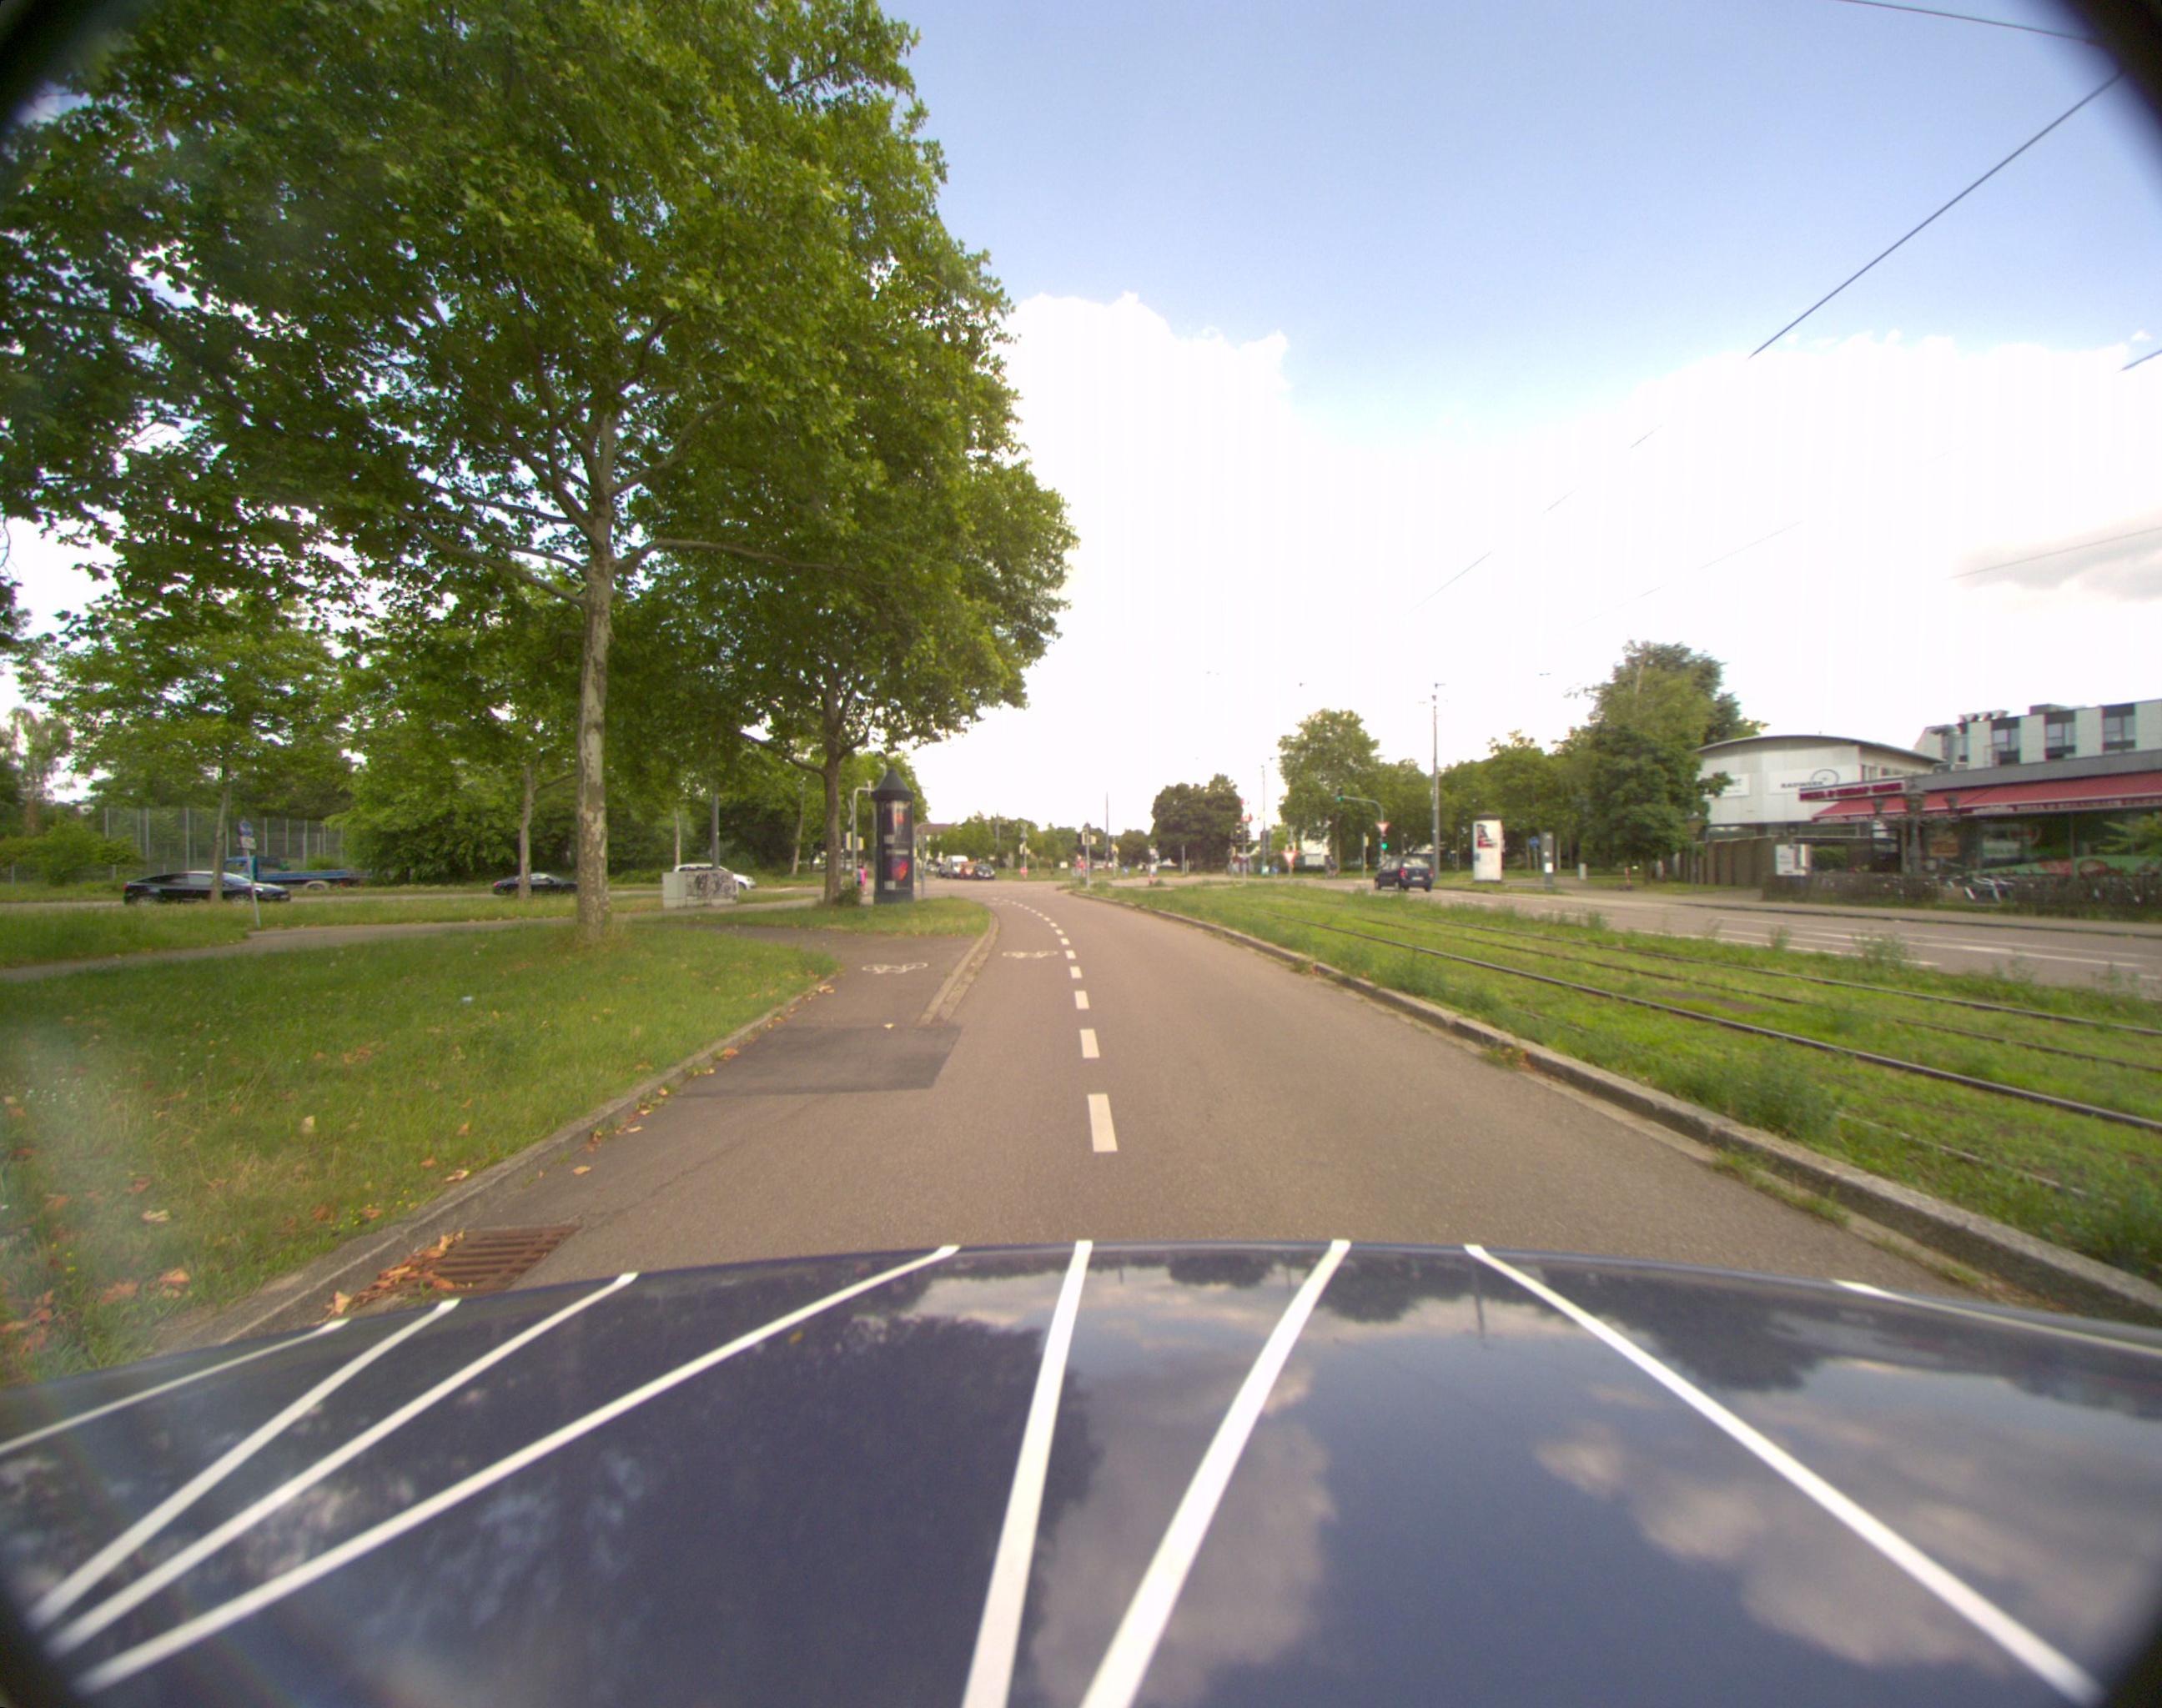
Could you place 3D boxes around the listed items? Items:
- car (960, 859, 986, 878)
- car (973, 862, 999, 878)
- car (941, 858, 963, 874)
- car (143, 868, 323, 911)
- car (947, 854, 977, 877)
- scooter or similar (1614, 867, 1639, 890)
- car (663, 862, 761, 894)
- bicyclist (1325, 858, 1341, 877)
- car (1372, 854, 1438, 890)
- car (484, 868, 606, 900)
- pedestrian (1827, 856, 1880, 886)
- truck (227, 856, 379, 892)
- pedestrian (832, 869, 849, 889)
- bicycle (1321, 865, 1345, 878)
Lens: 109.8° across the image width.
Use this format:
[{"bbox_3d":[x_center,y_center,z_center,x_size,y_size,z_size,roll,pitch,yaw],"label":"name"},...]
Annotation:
[{"bbox_3d":[-11.465,1.487,80.482,1.798,1.924,4.361,-1,0,-20],"label":"car"},{"bbox_3d":[-9.368,1.562,74.763,1.798,1.530,3.994,-1,0,-19],"label":"car"},{"bbox_3d":[-15.602,1.430,92.023,1.798,1.924,4.361,-1,0,-20],"label":"car"},{"bbox_3d":[-35.840,1.454,32.302,4.691,1.601,1.996,0,1,-21],"label":"car"},{"bbox_3d":[-13.617,1.247,86.653,2.242,2.492,5.716,-1,0,-21],"label":"car"},{"bbox_3d":[25.099,1.127,34.993,0.427,1.027,1.224,-1,0,10],"label":"scooter or similar"},{"bbox_3d":[-20.361,1.282,42.135,4.692,1.601,1.996,0,1,-21],"label":"car"},{"bbox_3d":[20.116,1.079,60.702,0.805,1.461,0.831,-1,-1,-15],"label":"bicyclist"},{"bbox_3d":[15.465,0.841,36.492,1.783,1.617,3.496,0,0,2],"label":"car"},{"bbox_3d":[-27.321,1.477,38.918,4.754,1.461,1.996,0,1,-21],"label":"car"},{"bbox_3d":[30.734,0.666,30.254,1.156,1.139,0.932,0,0,1],"label":"pedestrian"},{"bbox_3d":[-45.848,1.133,44.953,5.860,2.002,2.289,0,0,-17],"label":"truck"},{"bbox_3d":[-12.479,1.291,39.450,0.722,1.028,0.901,-1,0,-8],"label":"pedestrian"},{"bbox_3d":[20.126,1.399,60.703,0.805,1.053,2.067,-1,-2,-15],"label":"bicycle"}]
